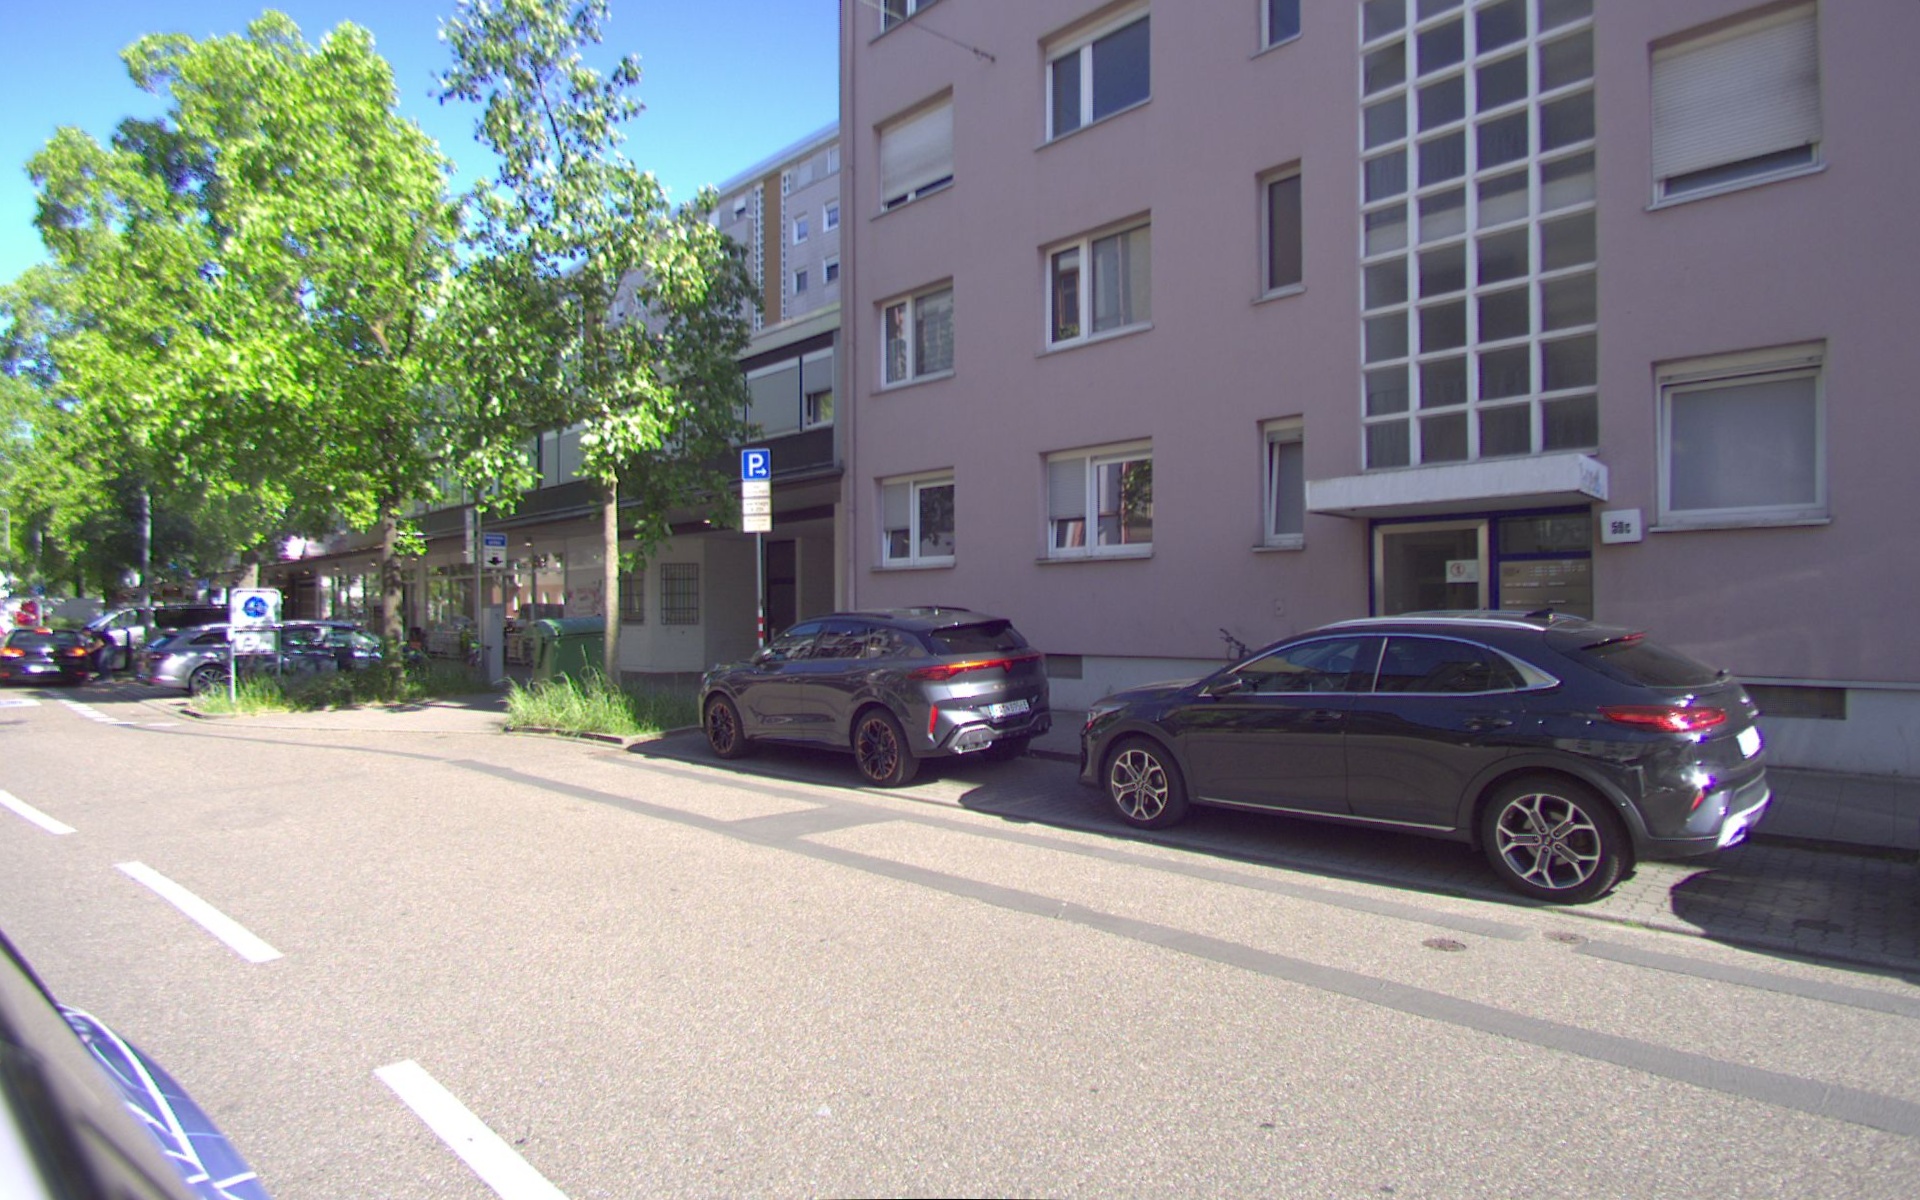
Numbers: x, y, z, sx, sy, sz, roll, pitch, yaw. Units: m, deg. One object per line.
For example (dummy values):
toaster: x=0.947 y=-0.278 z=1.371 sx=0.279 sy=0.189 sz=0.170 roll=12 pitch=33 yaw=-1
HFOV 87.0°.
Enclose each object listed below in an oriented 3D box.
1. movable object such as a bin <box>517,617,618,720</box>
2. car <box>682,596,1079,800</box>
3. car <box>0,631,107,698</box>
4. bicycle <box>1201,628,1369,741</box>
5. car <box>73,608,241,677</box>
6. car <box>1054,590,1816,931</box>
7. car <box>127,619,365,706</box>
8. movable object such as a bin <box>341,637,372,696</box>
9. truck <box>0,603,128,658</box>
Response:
movable object such as a bin: x=-6.271 y=1.064 z=16.176 sx=1.229 sy=1.557 sz=1.020 roll=0 pitch=-2 yaw=-42
car: x=-0.990 y=0.853 z=10.494 sx=1.797 sy=1.604 sz=4.143 roll=-4 pitch=2 yaw=-45
car: x=-22.359 y=1.510 z=24.868 sx=1.841 sy=1.475 sz=4.003 roll=0 pitch=-1 yaw=-44
bicycle: x=3.390 y=0.852 z=10.676 sx=1.650 sy=1.084 sz=0.386 roll=-2 pitch=3 yaw=45
car: x=-25.355 y=1.284 z=32.048 sx=2.000 sy=2.047 sz=3.942 roll=-2 pitch=-2 yaw=44
car: x=2.858 y=0.773 z=6.788 sx=1.796 sy=1.519 sz=4.248 roll=-2 pitch=0 yaw=-45
car: x=-15.426 y=1.270 z=21.987 sx=2.000 sy=1.687 sz=3.942 roll=-2 pitch=-2 yaw=44
movable object such as a bin: x=-12.949 y=1.422 z=21.728 sx=0.410 sy=1.234 sz=0.482 roll=-2 pitch=-2 yaw=44
truck: x=-45.069 y=1.497 z=50.407 sx=1.994 sy=2.615 sz=5.261 roll=-1 pitch=-1 yaw=33
